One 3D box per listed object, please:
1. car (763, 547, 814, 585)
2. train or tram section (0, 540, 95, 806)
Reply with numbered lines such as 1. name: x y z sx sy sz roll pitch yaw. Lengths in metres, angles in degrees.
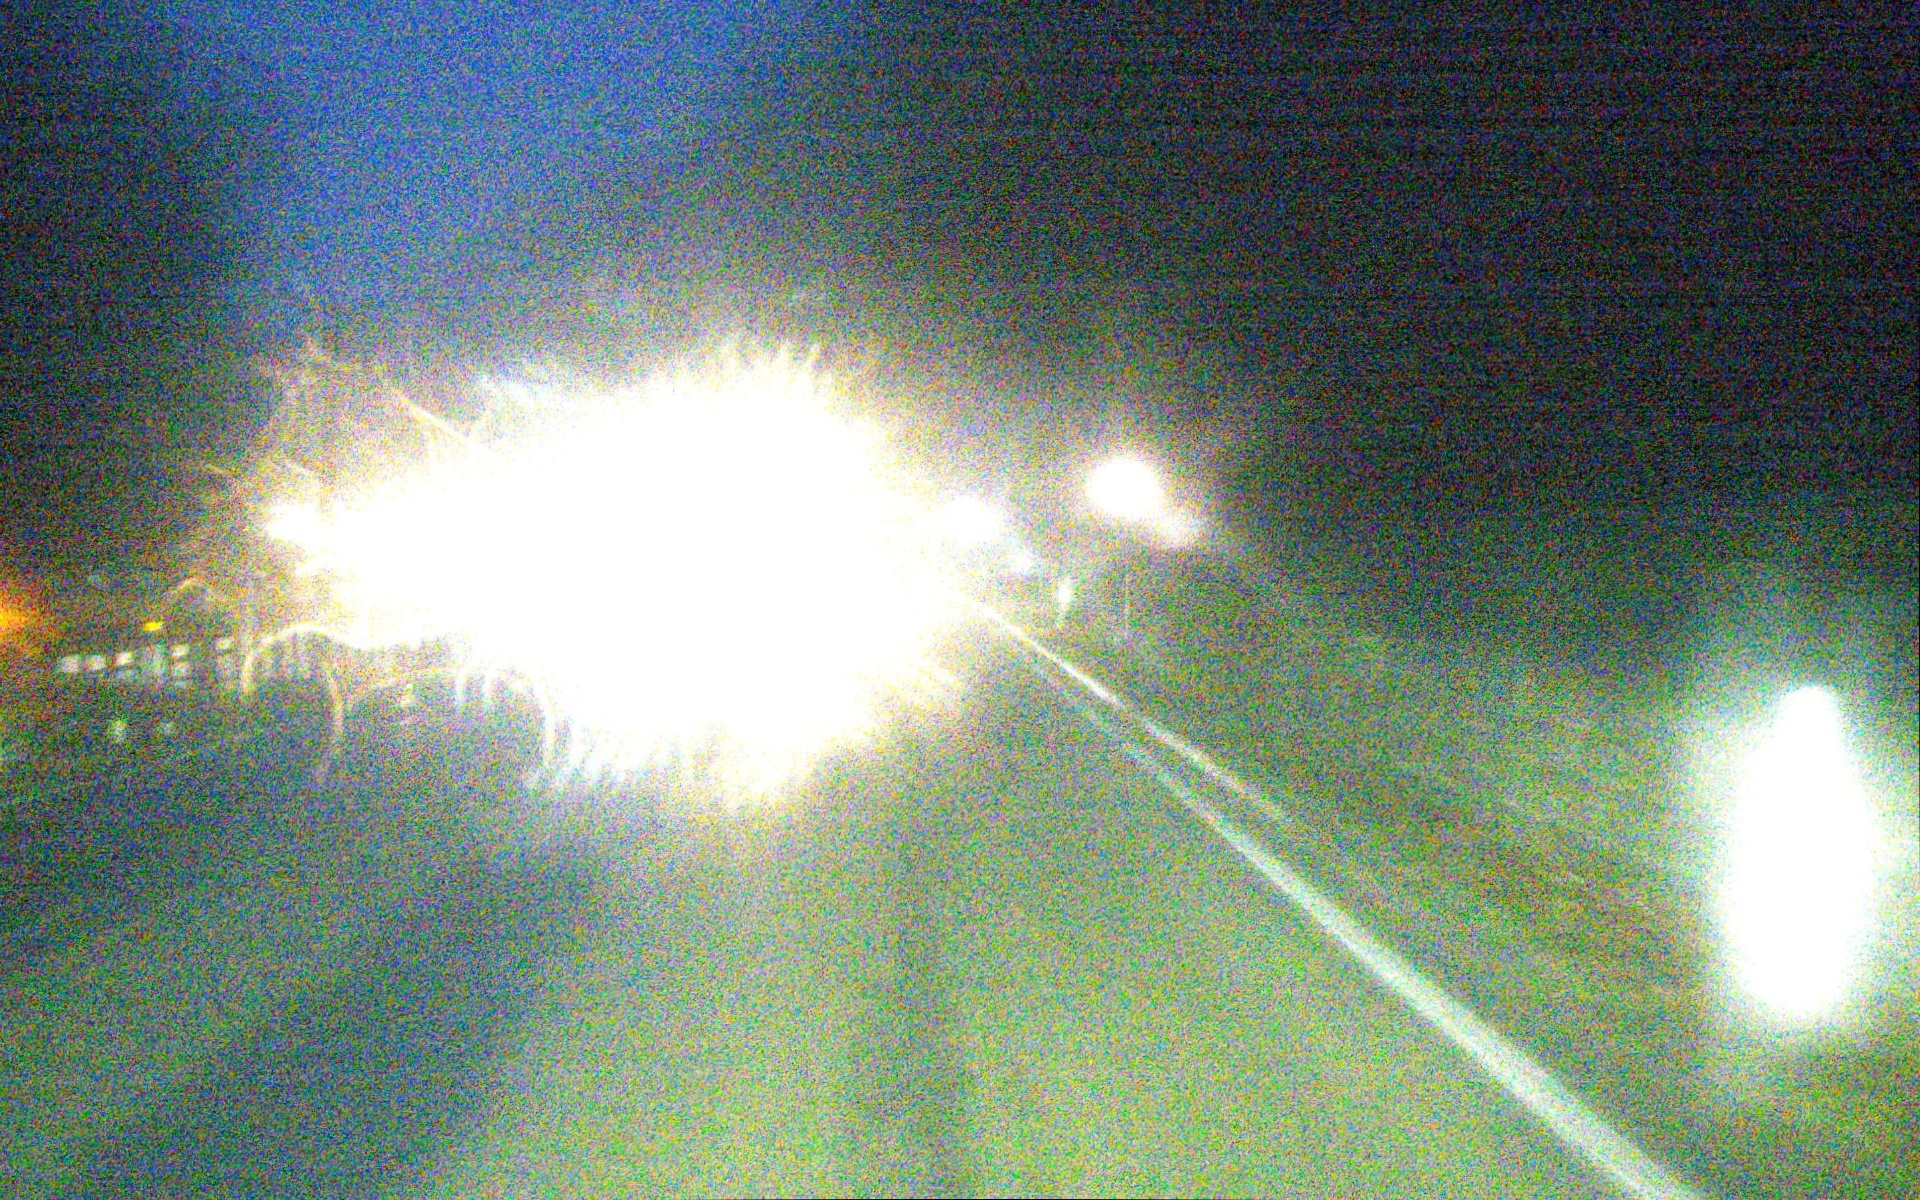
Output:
1. car: -6.867 -1.375 137.723 1.993 1.452 4.099 -2 1 -3
2. train or tram section: -13.932 0.929 45.856 2.843 3.448 8.554 0 1 -2
